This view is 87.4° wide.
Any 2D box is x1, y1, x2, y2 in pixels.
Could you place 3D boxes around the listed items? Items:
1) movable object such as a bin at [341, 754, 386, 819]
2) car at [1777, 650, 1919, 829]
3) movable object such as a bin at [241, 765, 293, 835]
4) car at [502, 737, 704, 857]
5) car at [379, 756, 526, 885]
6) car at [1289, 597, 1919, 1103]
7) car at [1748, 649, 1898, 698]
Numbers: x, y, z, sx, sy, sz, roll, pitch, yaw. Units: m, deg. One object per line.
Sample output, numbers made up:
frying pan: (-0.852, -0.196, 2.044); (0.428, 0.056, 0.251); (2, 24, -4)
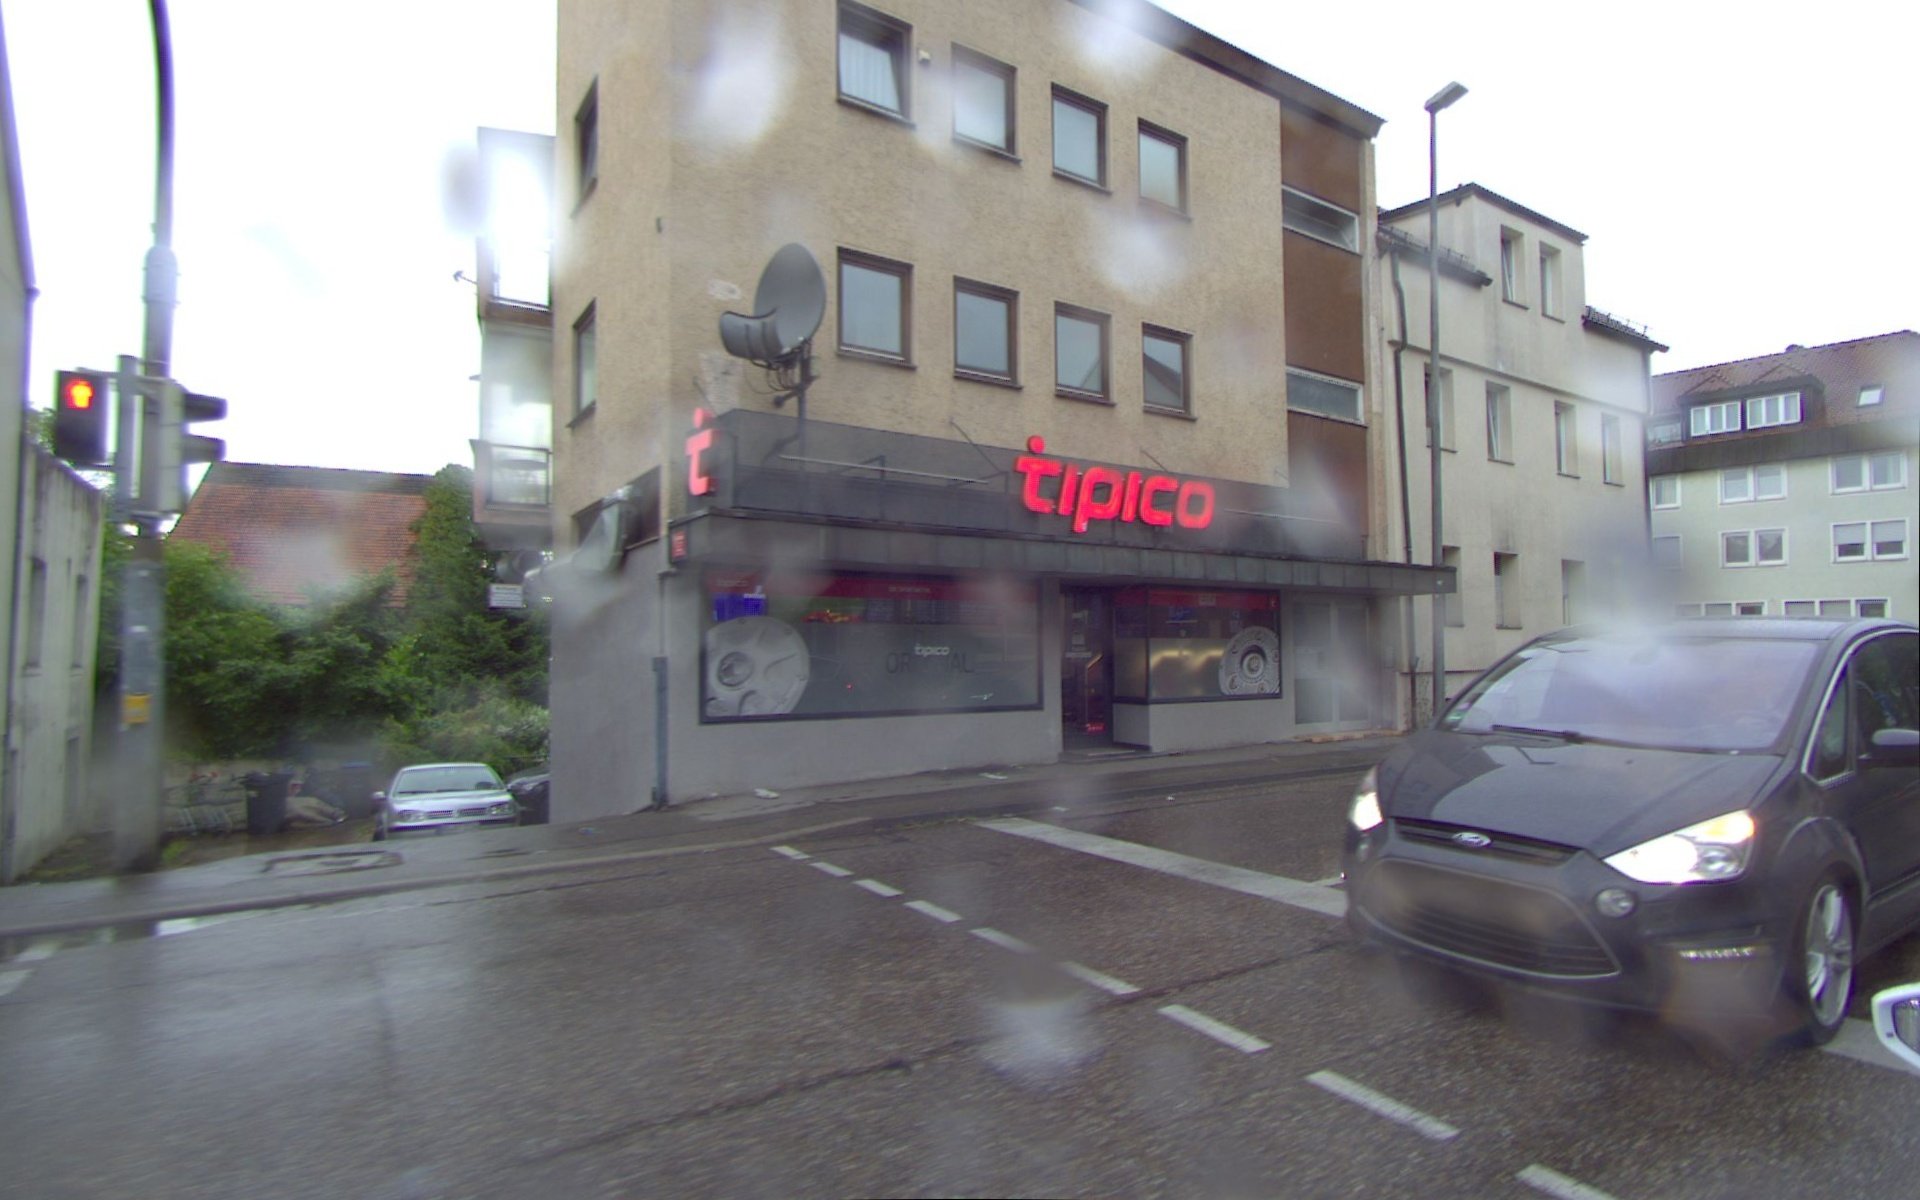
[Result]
movable object such as a bin: (-12.072, 3.761, 20.335); (0.739, 1.180, 0.728); (1, -4, -31)
car: (8.945, 1.139, 8.909); (3.913, 1.352, 1.606); (2, -2, -35)
movable object such as a bin: (-13.022, 3.745, 18.898); (0.739, 1.180, 0.728); (1, -4, -31)
car: (-7.568, 4.072, 21.297); (3.784, 1.880, 1.843); (-2, -3, -28)
car: (-7.488, 3.130, 14.848); (1.708, 1.500, 3.842); (1, -8, -27)
car: (3.797, 0.858, 5.138); (4.357, 1.583, 1.773); (2, -2, -35)
car: (32.035, 2.749, 37.366); (1.782, 1.404, 3.973); (-1, -8, -44)
